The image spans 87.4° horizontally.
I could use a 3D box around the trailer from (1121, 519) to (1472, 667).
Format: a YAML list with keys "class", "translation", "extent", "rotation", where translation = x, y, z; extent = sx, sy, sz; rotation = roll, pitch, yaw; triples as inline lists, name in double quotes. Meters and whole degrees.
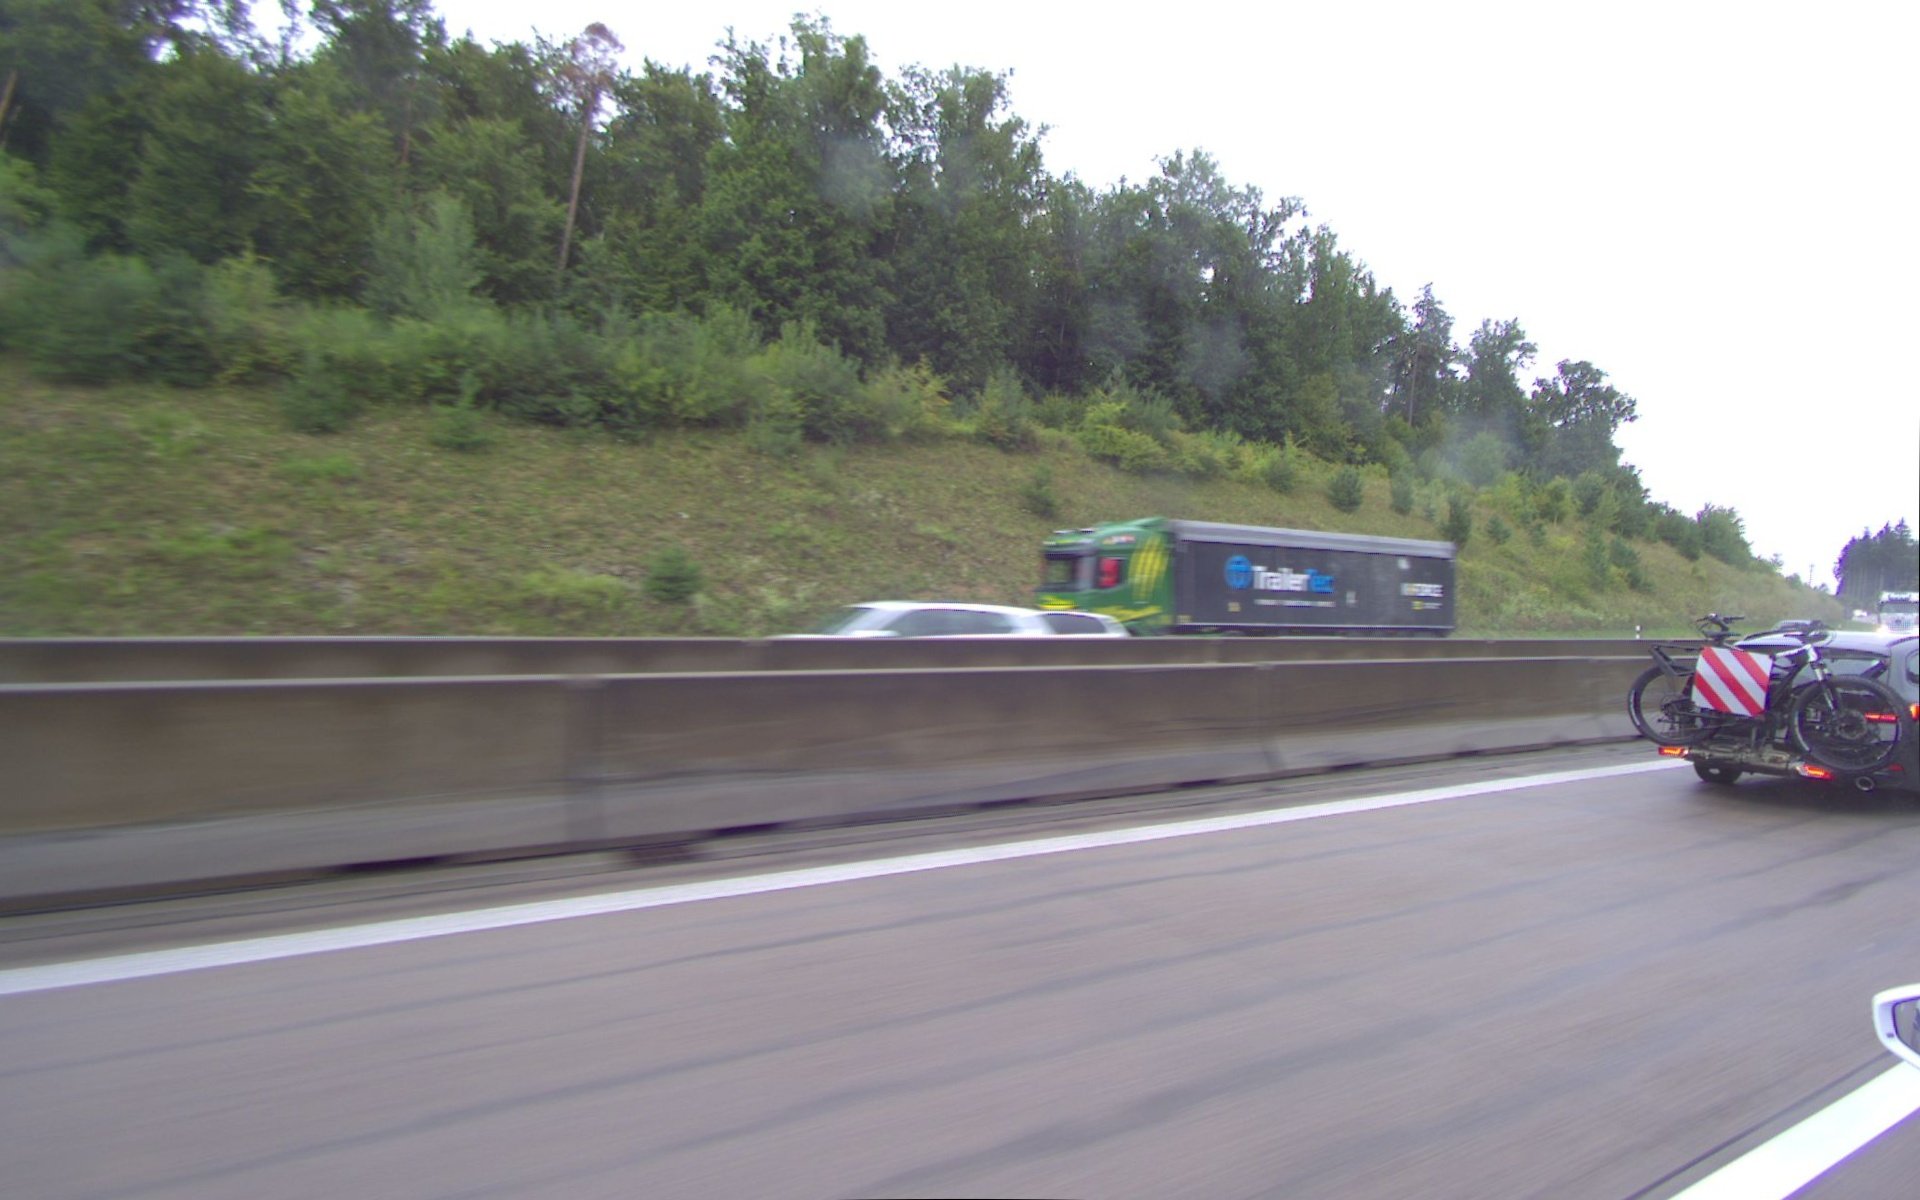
- class: "trailer"
  translation: [11.153, -0.051, 32.039]
  extent: [13.317, 4.013, 2.910]
  rotation: [1, -1, -33]

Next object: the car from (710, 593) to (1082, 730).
- class: "car"
  translation: [-0.808, 0.766, 13.776]
  extent: [4.717, 1.606, 1.984]
  rotation: [1, -1, -31]

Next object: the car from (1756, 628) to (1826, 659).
- class: "car"
  translation: [43.160, 2.219, 52.126]
  extent: [3.957, 1.513, 1.721]
  rotation: [1, -1, -33]

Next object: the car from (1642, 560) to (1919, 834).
- class: "car"
  translation: [9.001, 0.760, 9.628]
  extent: [6.097, 1.971, 1.896]
  rotation: [1, -1, -33]

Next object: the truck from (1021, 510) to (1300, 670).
- class: "truck"
  translation: [5.851, -0.167, 28.630]
  extent: [8.029, 4.013, 2.910]
  rotation: [1, -1, -33]

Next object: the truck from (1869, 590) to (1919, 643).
- class: "truck"
  translation: [73.590, 1.307, 78.155]
  extent: [7.296, 3.941, 2.885]
  rotation: [1, 0, -37]

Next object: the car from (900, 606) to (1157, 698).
- class: "car"
  translation: [1.384, 0.964, 19.622]
  extent: [4.717, 1.606, 1.984]
  rotation: [1, -1, -31]
